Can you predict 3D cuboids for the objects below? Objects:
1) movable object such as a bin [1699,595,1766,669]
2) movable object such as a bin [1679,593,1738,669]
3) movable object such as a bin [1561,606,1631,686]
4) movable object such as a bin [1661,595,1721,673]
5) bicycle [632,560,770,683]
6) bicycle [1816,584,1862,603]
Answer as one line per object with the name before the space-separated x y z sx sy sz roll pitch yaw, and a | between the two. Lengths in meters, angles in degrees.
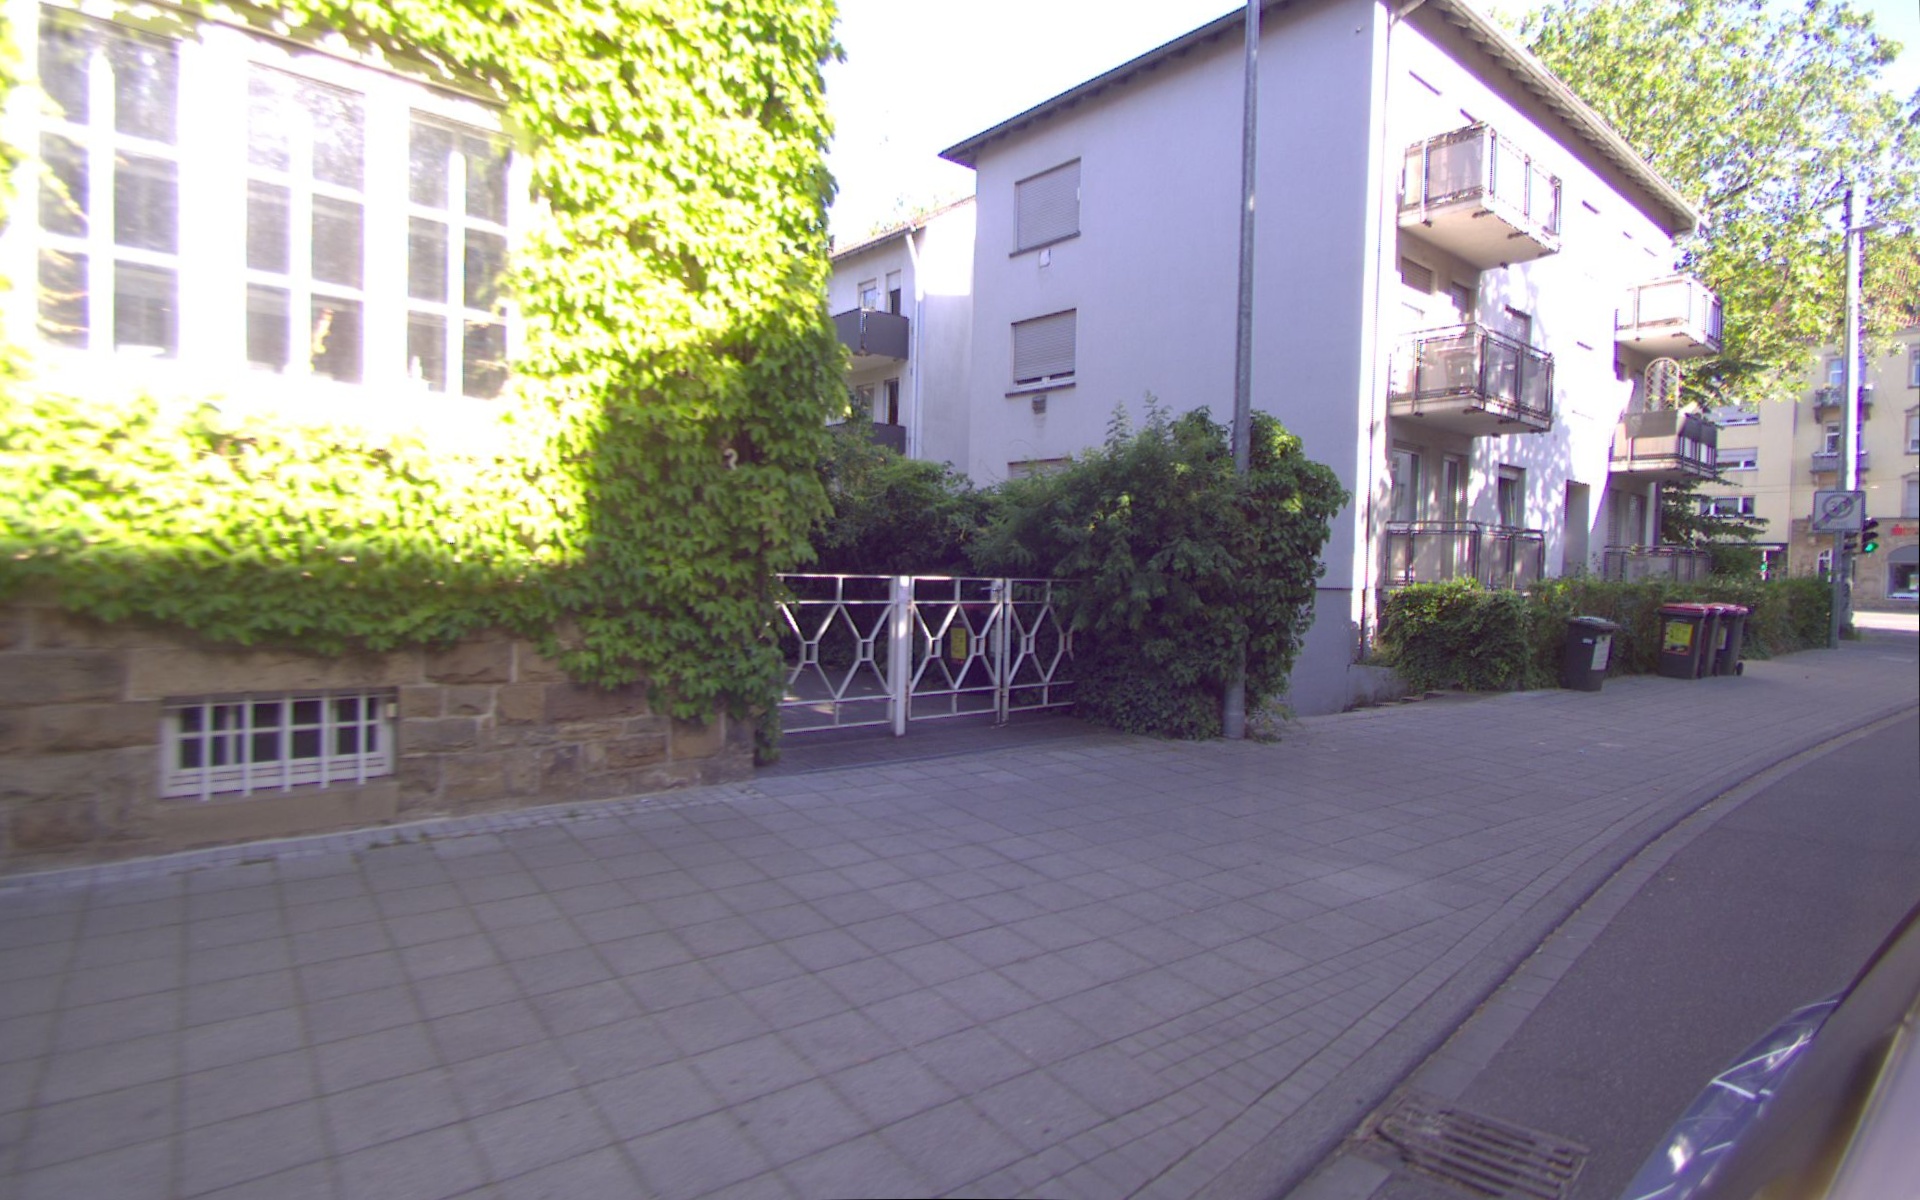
movable object such as a bin | 11.885 0.479 15.570 0.695 1.056 0.598 0 6 -40
movable object such as a bin | 11.195 0.455 15.141 0.645 1.056 0.485 0 6 -40
movable object such as a bin | 8.086 0.573 12.865 0.562 0.926 0.505 0 5 -36
movable object such as a bin | 10.610 0.481 14.690 0.607 1.056 0.485 0 6 -40
bicycle | -2.828 0.176 10.873 0.661 1.170 2.117 1 2 -36
bicycle | 51.517 -0.382 59.331 0.507 0.987 1.952 -3 4 -39
